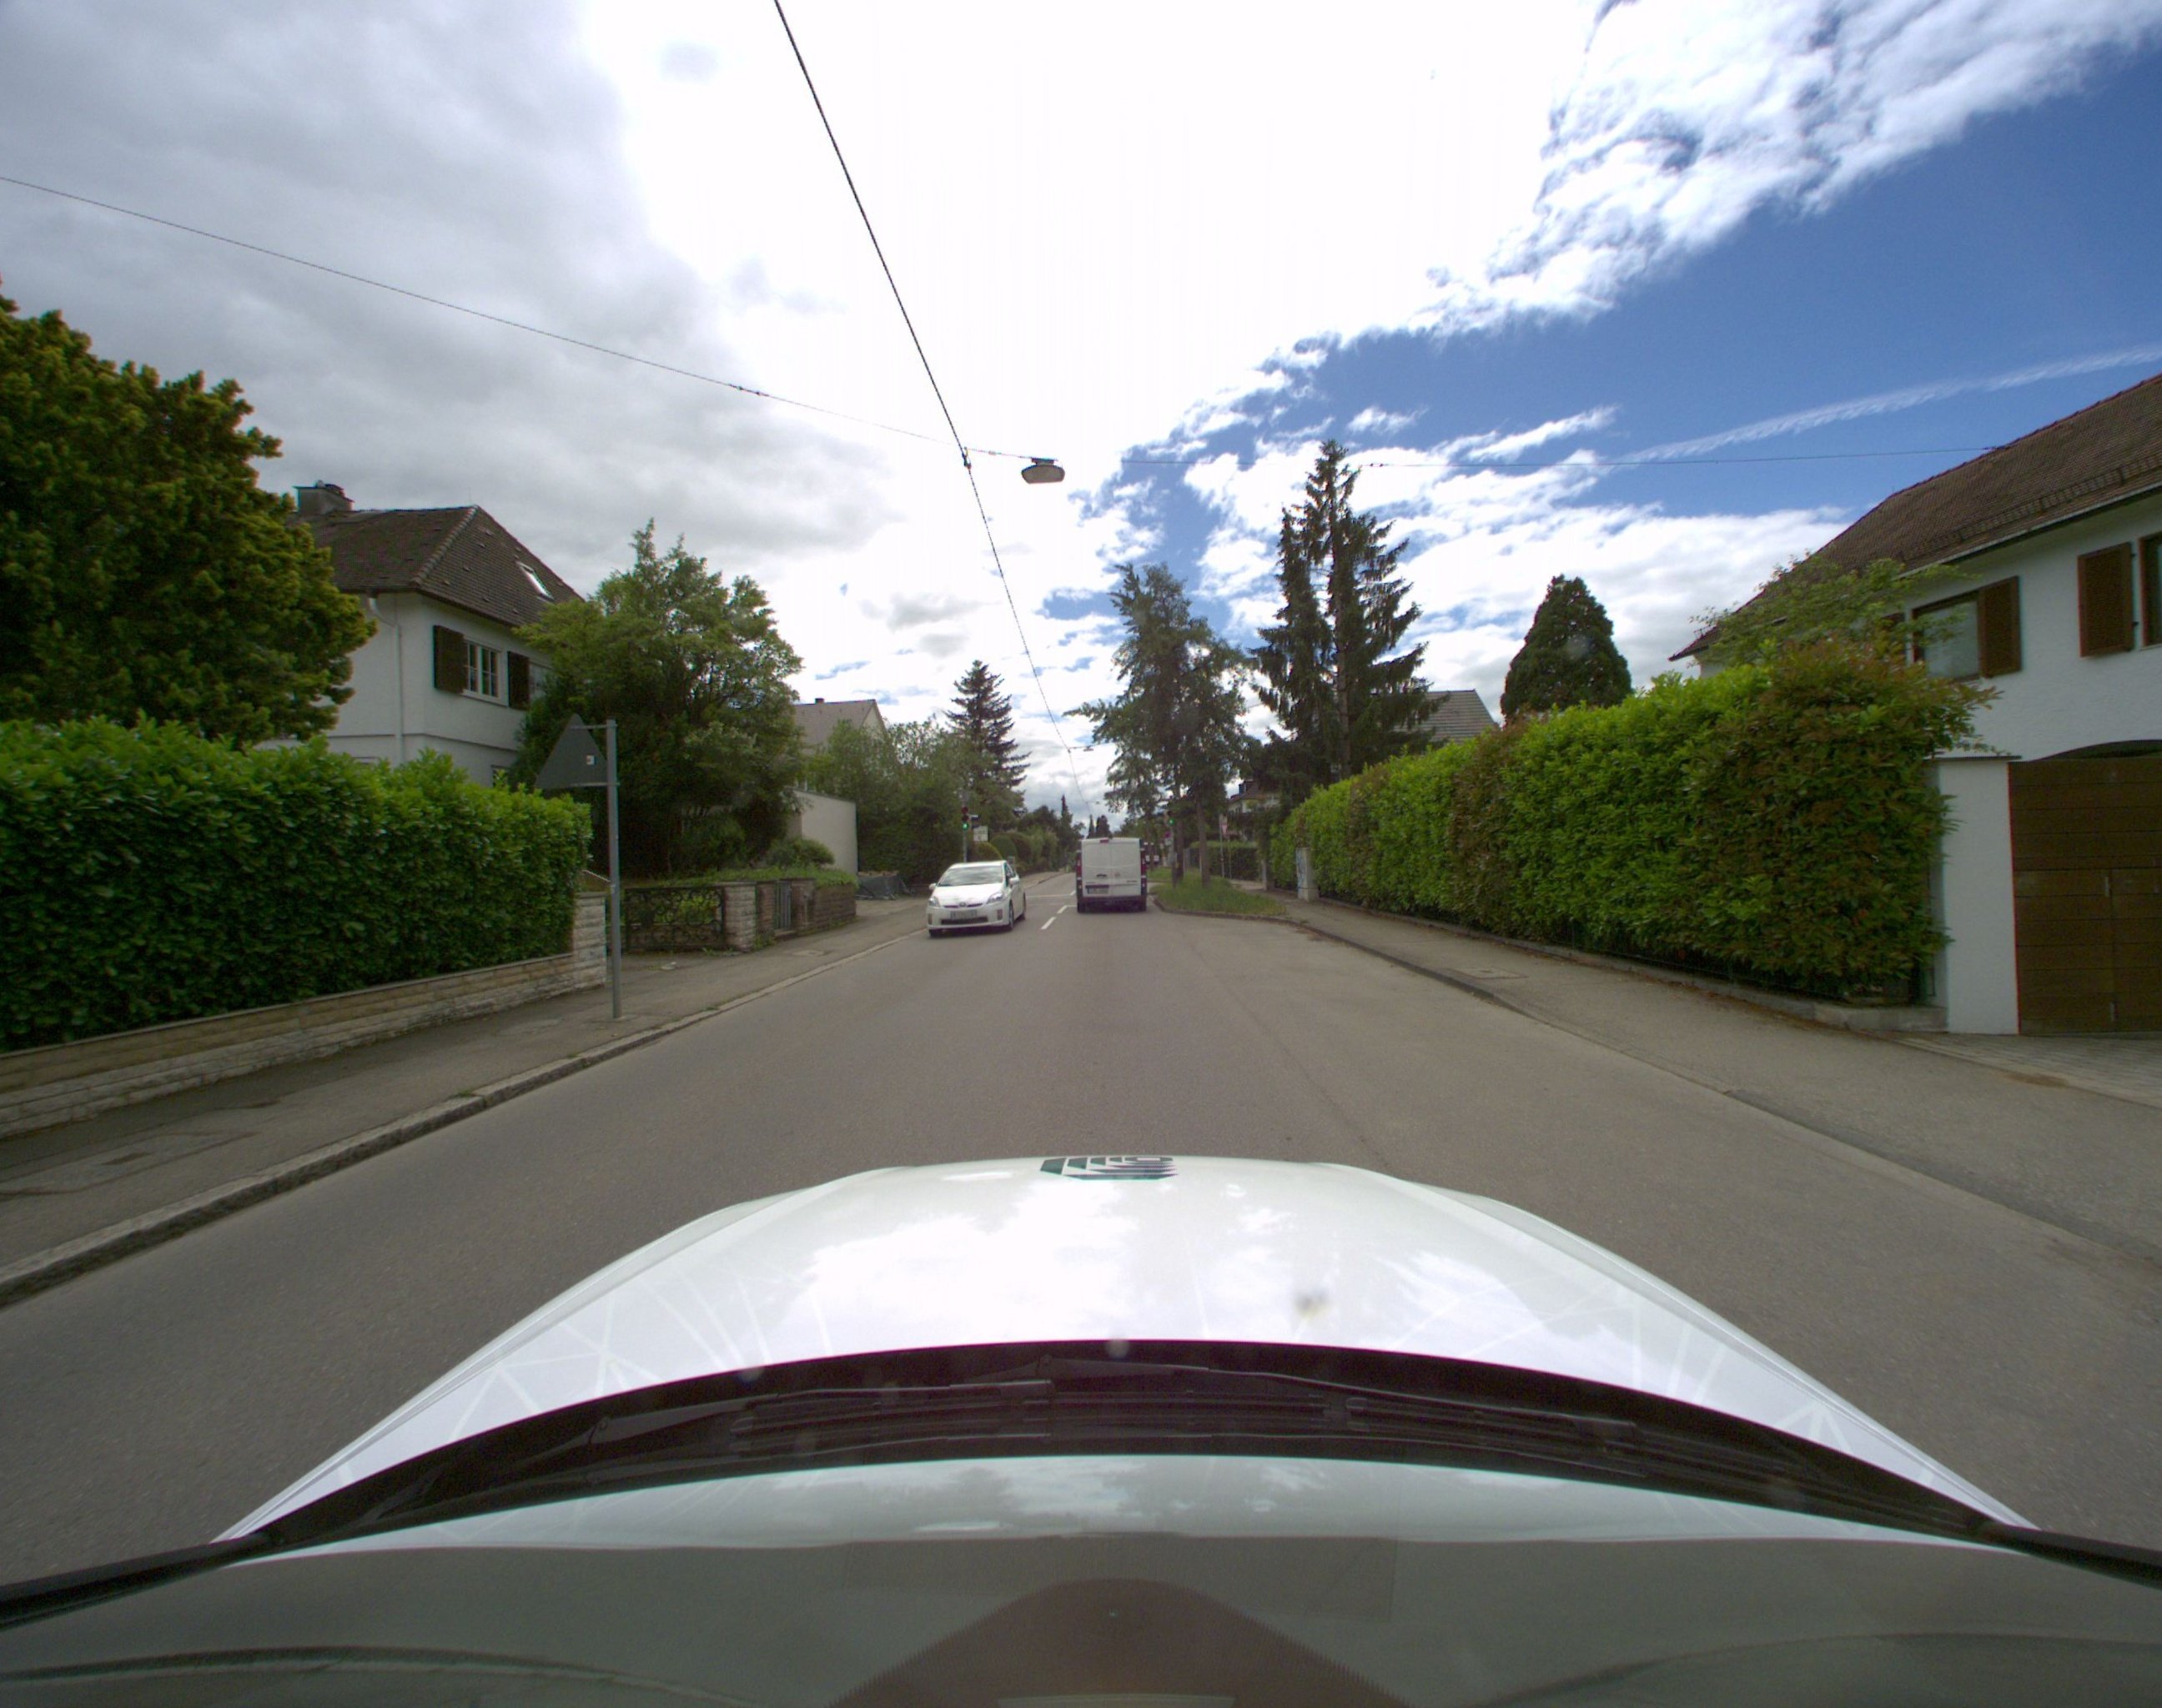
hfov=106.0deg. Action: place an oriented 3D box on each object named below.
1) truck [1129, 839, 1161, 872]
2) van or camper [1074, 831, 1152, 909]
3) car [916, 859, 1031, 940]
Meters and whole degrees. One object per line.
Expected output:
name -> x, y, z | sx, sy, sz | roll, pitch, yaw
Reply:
truck -> 5.106, 0.105, 65.780 | 2.179, 2.472, 7.434 | -1, 0, 2
van or camper -> 0.874, 0.453, 22.985 | 1.932, 1.954, 4.766 | -1, -1, 1
car -> -2.254, 0.904, 18.204 | 1.848, 1.451, 4.282 | -4, 0, 1
